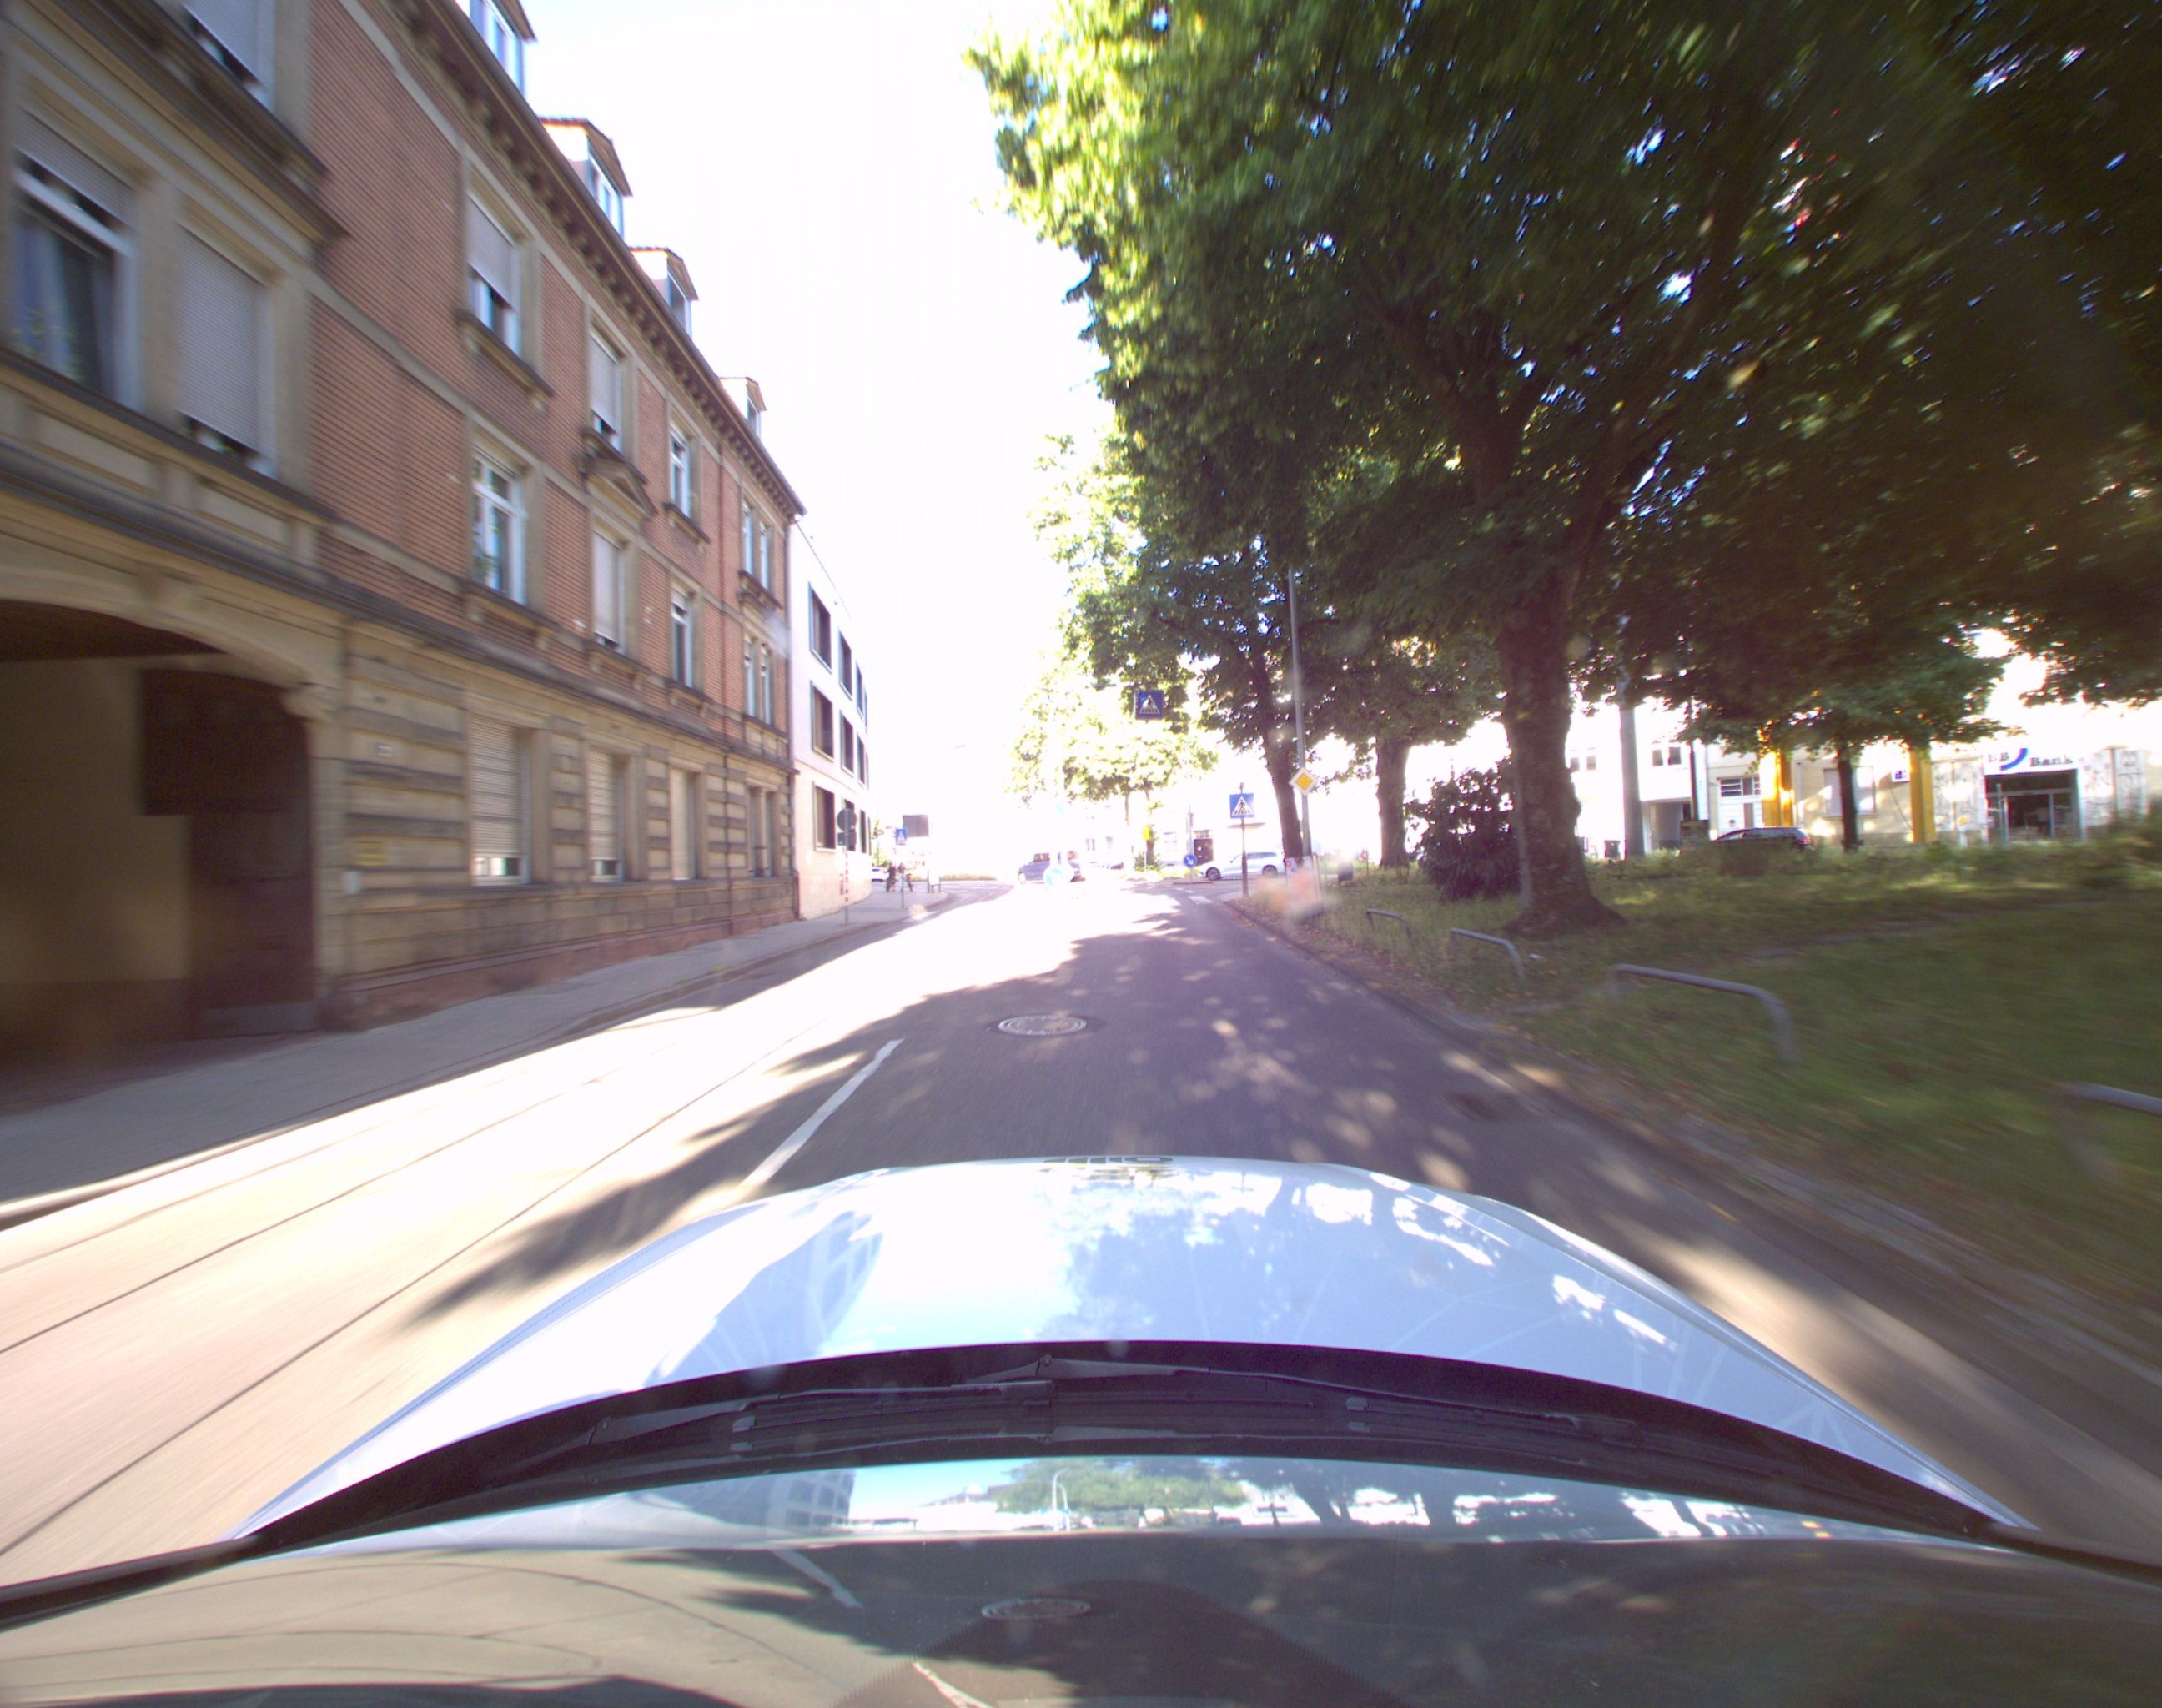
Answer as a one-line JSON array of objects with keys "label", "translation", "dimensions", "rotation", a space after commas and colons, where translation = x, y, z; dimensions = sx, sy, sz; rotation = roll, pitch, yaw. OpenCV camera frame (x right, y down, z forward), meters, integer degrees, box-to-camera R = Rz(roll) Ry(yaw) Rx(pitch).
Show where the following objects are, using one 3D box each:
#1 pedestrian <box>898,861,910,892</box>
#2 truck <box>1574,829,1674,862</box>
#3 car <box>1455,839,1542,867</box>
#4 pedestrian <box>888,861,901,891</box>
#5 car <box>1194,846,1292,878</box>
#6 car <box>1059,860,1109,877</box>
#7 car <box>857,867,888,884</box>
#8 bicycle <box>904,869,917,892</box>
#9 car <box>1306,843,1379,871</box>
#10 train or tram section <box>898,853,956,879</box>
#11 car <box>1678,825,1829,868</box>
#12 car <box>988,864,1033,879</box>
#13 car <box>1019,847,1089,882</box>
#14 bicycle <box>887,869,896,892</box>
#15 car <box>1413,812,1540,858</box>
[{"label": "pedestrian", "translation": [-9.459, 1.208, 43.564], "dimensions": [0.475, 1.647, 0.598], "rotation": [-3, 0, -19]}, {"label": "truck", "translation": [28.877, -0.459, 43.393], "dimensions": [2.012, 1.585, 4.046], "rotation": [-2, 0, -44]}, {"label": "car", "translation": [24.455, -0.058, 47.783], "dimensions": [2.012, 1.452, 4.046], "rotation": [-2, 0, -44]}, {"label": "pedestrian", "translation": [-9.992, 1.171, 43.627], "dimensions": [0.475, 1.565, 0.598], "rotation": [-4, 0, -19]}, {"label": "car", "translation": [8.363, 0.414, 41.999], "dimensions": [4.717, 1.463, 1.864], "rotation": [-2, 0, 19]}, {"label": "car", "translation": [0.269, 1.314, 73.642], "dimensions": [2.012, 1.386, 4.391], "rotation": [-2, 0, -44]}, {"label": "car", "translation": [-20.108, 2.048, 78.576], "dimensions": [1.970, 1.505, 3.650], "rotation": [-3, 0, -29]}, {"label": "bicycle", "translation": [-9.123, 1.394, 43.608], "dimensions": [0.441, 1.178, 1.954], "rotation": [-1, 0, -18]}, {"label": "car", "translation": [17.625, 0.198, 55.016], "dimensions": [2.012, 1.749, 4.157], "rotation": [-2, 0, -44]}, {"label": "train or tram section", "translation": [-22.339, 1.734, 118.653], "dimensions": [2.750, 3.555, 9.978], "rotation": [-2, -1, 26]}, {"label": "car", "translation": [25.175, -0.272, 30.583], "dimensions": [2.010, 1.444, 4.024], "rotation": [-2, 0, -40]}, {"label": "car", "translation": [-7.107, 1.751, 81.561], "dimensions": [4.390, 1.386, 2.012], "rotation": [-2, 0, 43]}, {"label": "car", "translation": [-1.673, 0.648, 49.697], "dimensions": [3.949, 2.014, 2.012], "rotation": [-2, -1, 43]}, {"label": "bicycle", "translation": [-10.183, 1.407, 43.734], "dimensions": [0.376, 1.167, 1.827], "rotation": [-2, 0, -16]}, {"label": "car", "translation": [17.833, -0.828, 36.834], "dimensions": [4.838, 1.854, 2.013], "rotation": [-2, 0, 35]}]
